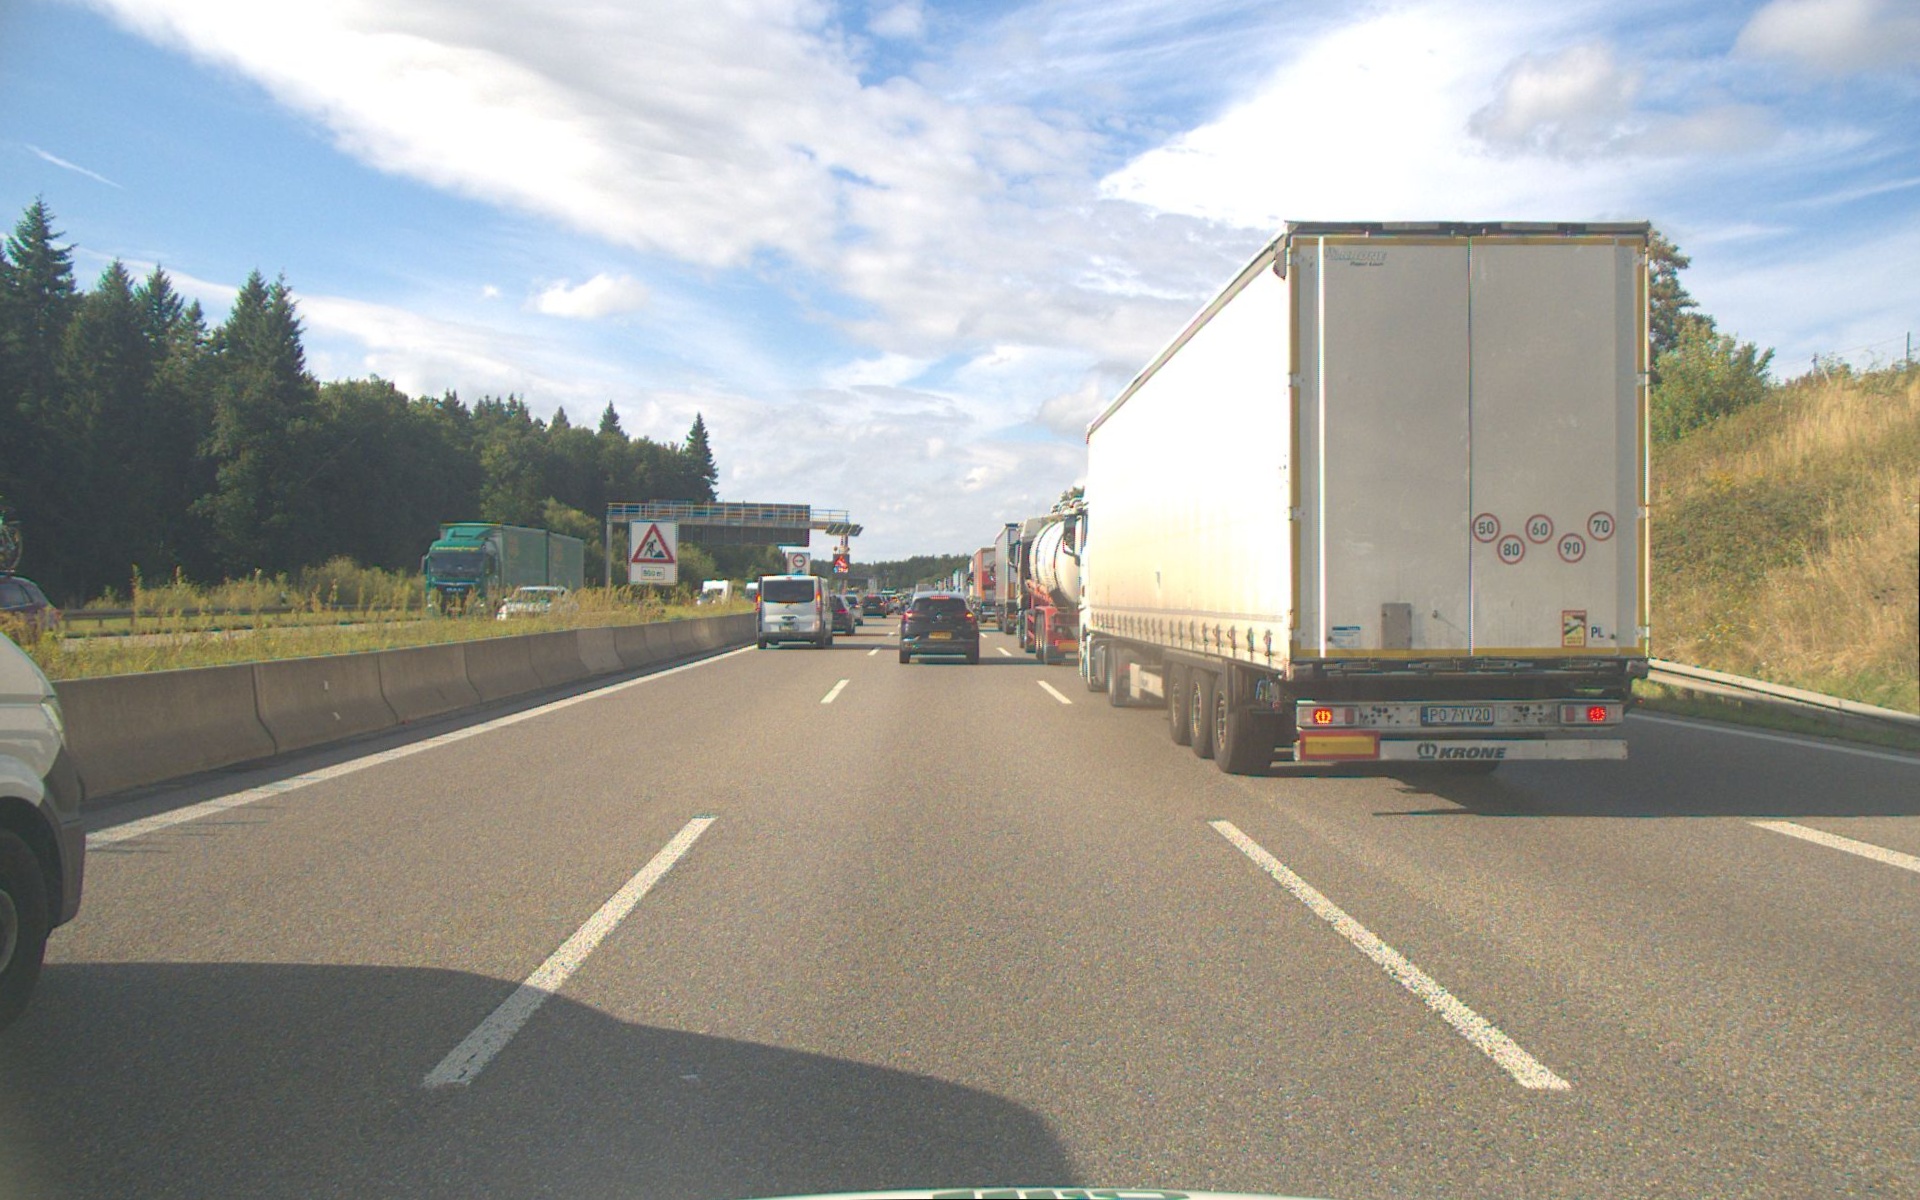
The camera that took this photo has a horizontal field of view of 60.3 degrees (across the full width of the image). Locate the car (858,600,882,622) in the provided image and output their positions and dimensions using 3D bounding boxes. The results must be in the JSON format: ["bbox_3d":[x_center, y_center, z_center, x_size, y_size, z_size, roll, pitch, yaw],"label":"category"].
[{"bbox_3d":[-5.832,0.702,107.468,1.406,1.333,3.532,3,0,-1],"label":"car"}]

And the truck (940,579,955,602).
[{"bbox_3d":[-1.752,-1.377,239.592,1.953,3.105,4.981,3,0,0],"label":"truck"}]

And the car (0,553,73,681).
[{"bbox_3d":[-15.224,0.205,24.715,1.724,1.914,3.999,3,0,-1],"label":"car"}]

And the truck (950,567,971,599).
[{"bbox_3d":[0.046,-1.693,168.546,1.953,3.105,4.981,3,0,0],"label":"truck"}]

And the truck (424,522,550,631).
[{"bbox_3d":[-19.999,-0.914,70.587,2.656,4.318,10.340,0,0,-2],"label":"truck"}]

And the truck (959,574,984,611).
[{"bbox_3d":[0.965,-0.611,142.650,1.953,2.983,4.981,3,0,0],"label":"truck"}]

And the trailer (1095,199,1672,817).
[{"bbox_3d":[3.391,-0.649,17.624,2.648,4.153,12.942,0,0,-1],"label":"trailer"}]

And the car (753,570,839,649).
[{"bbox_3d":[-4.588,0.273,46.943,1.894,2.013,5.097,3,0,-1],"label":"car"}]

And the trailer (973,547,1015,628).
[{"bbox_3d":[1.844,-0.670,92.889,2.106,4.333,8.439,1,0,0],"label":"trailer"}]

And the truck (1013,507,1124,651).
[{"bbox_3d":[2.869,-0.533,45.351,2.482,3.647,6.728,0,0,-1],"label":"truck"}]

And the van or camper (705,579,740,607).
[{"bbox_3d":[-21.162,-0.613,147.477,2.409,2.456,5.850,0,0,-2],"label":"van or camper"}]

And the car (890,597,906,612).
[{"bbox_3d":[-5.701,0.391,151.719,1.333,1.323,3.084,3,0,-1],"label":"car"}]

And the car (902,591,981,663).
[{"bbox_3d":[-0.435,0.576,37.359,1.662,1.509,4.159,1,0,-1],"label":"car"}]

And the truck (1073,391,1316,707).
[{"bbox_3d":[3.281,-0.658,24.811,2.653,4.131,6.360,0,0,-1],"label":"truck"}]

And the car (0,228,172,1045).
[{"bbox_3d":[-4.056,0.140,3.442,1.974,2.644,6.180,0,1,-1],"label":"car"}]

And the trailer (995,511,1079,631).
[{"bbox_3d":[2.914,-1.032,65.227,2.745,4.318,11.055,0,0,0],"label":"trailer"}]

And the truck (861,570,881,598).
[{"bbox_3d":[-12.431,-2.245,231.012,2.297,3.657,6.304,3,0,-1],"label":"truck"}]

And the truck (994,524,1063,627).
[{"bbox_3d":[2.903,-1.007,72.033,2.729,4.321,6.459,0,0,0],"label":"truck"}]

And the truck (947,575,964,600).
[{"bbox_3d":[-0.618,-1.579,212.717,1.953,3.105,4.981,3,0,0],"label":"truck"}]

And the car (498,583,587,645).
[{"bbox_3d":[-12.357,0.403,49.126,1.637,1.652,3.766,3,0,-1],"label":"car"}]

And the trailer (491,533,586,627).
[{"bbox_3d":[-20.279,-0.915,80.060,2.670,4.318,8.549,0,0,-2],"label":"trailer"}]

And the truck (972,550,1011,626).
[{"bbox_3d":[1.813,-0.689,98.046,2.090,4.357,6.337,1,0,0],"label":"truck"}]

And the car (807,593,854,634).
[{"bbox_3d":[-4.709,0.499,60.275,1.469,1.420,3.475,1,0,-1],"label":"car"}]

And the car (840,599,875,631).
[{"bbox_3d":[-4.924,0.701,79.706,1.470,1.420,3.475,3,0,-1],"label":"car"}]

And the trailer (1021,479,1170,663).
[{"bbox_3d":[2.943,-0.569,38.755,2.489,3.718,10.624,0,0,-1],"label":"trailer"}]
